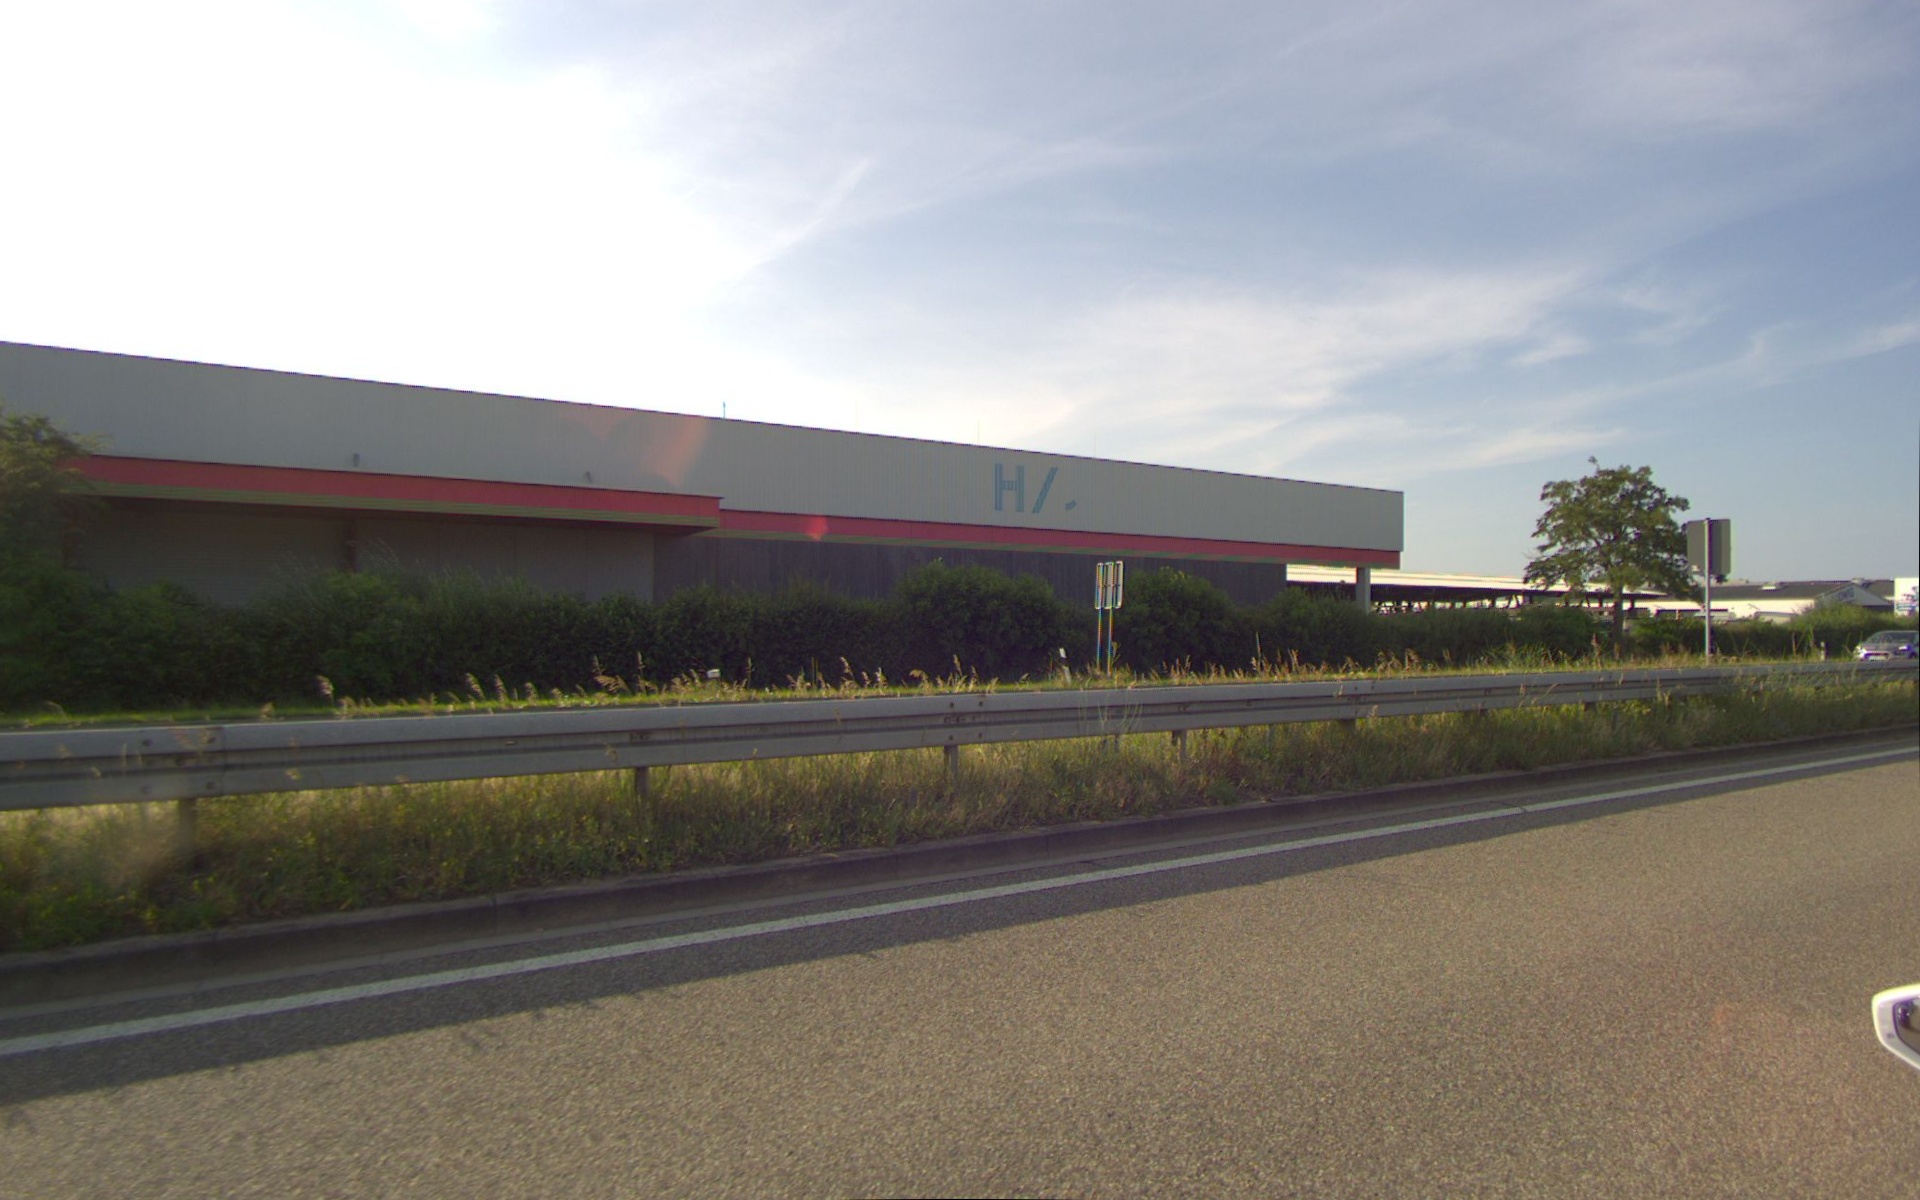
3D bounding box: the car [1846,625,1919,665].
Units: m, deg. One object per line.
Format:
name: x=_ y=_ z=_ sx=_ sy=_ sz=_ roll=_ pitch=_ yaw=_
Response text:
car: x=35.977 y=1.703 z=38.579 sx=3.952 sy=1.443 sz=1.771 roll=1 pitch=-1 yaw=-30
